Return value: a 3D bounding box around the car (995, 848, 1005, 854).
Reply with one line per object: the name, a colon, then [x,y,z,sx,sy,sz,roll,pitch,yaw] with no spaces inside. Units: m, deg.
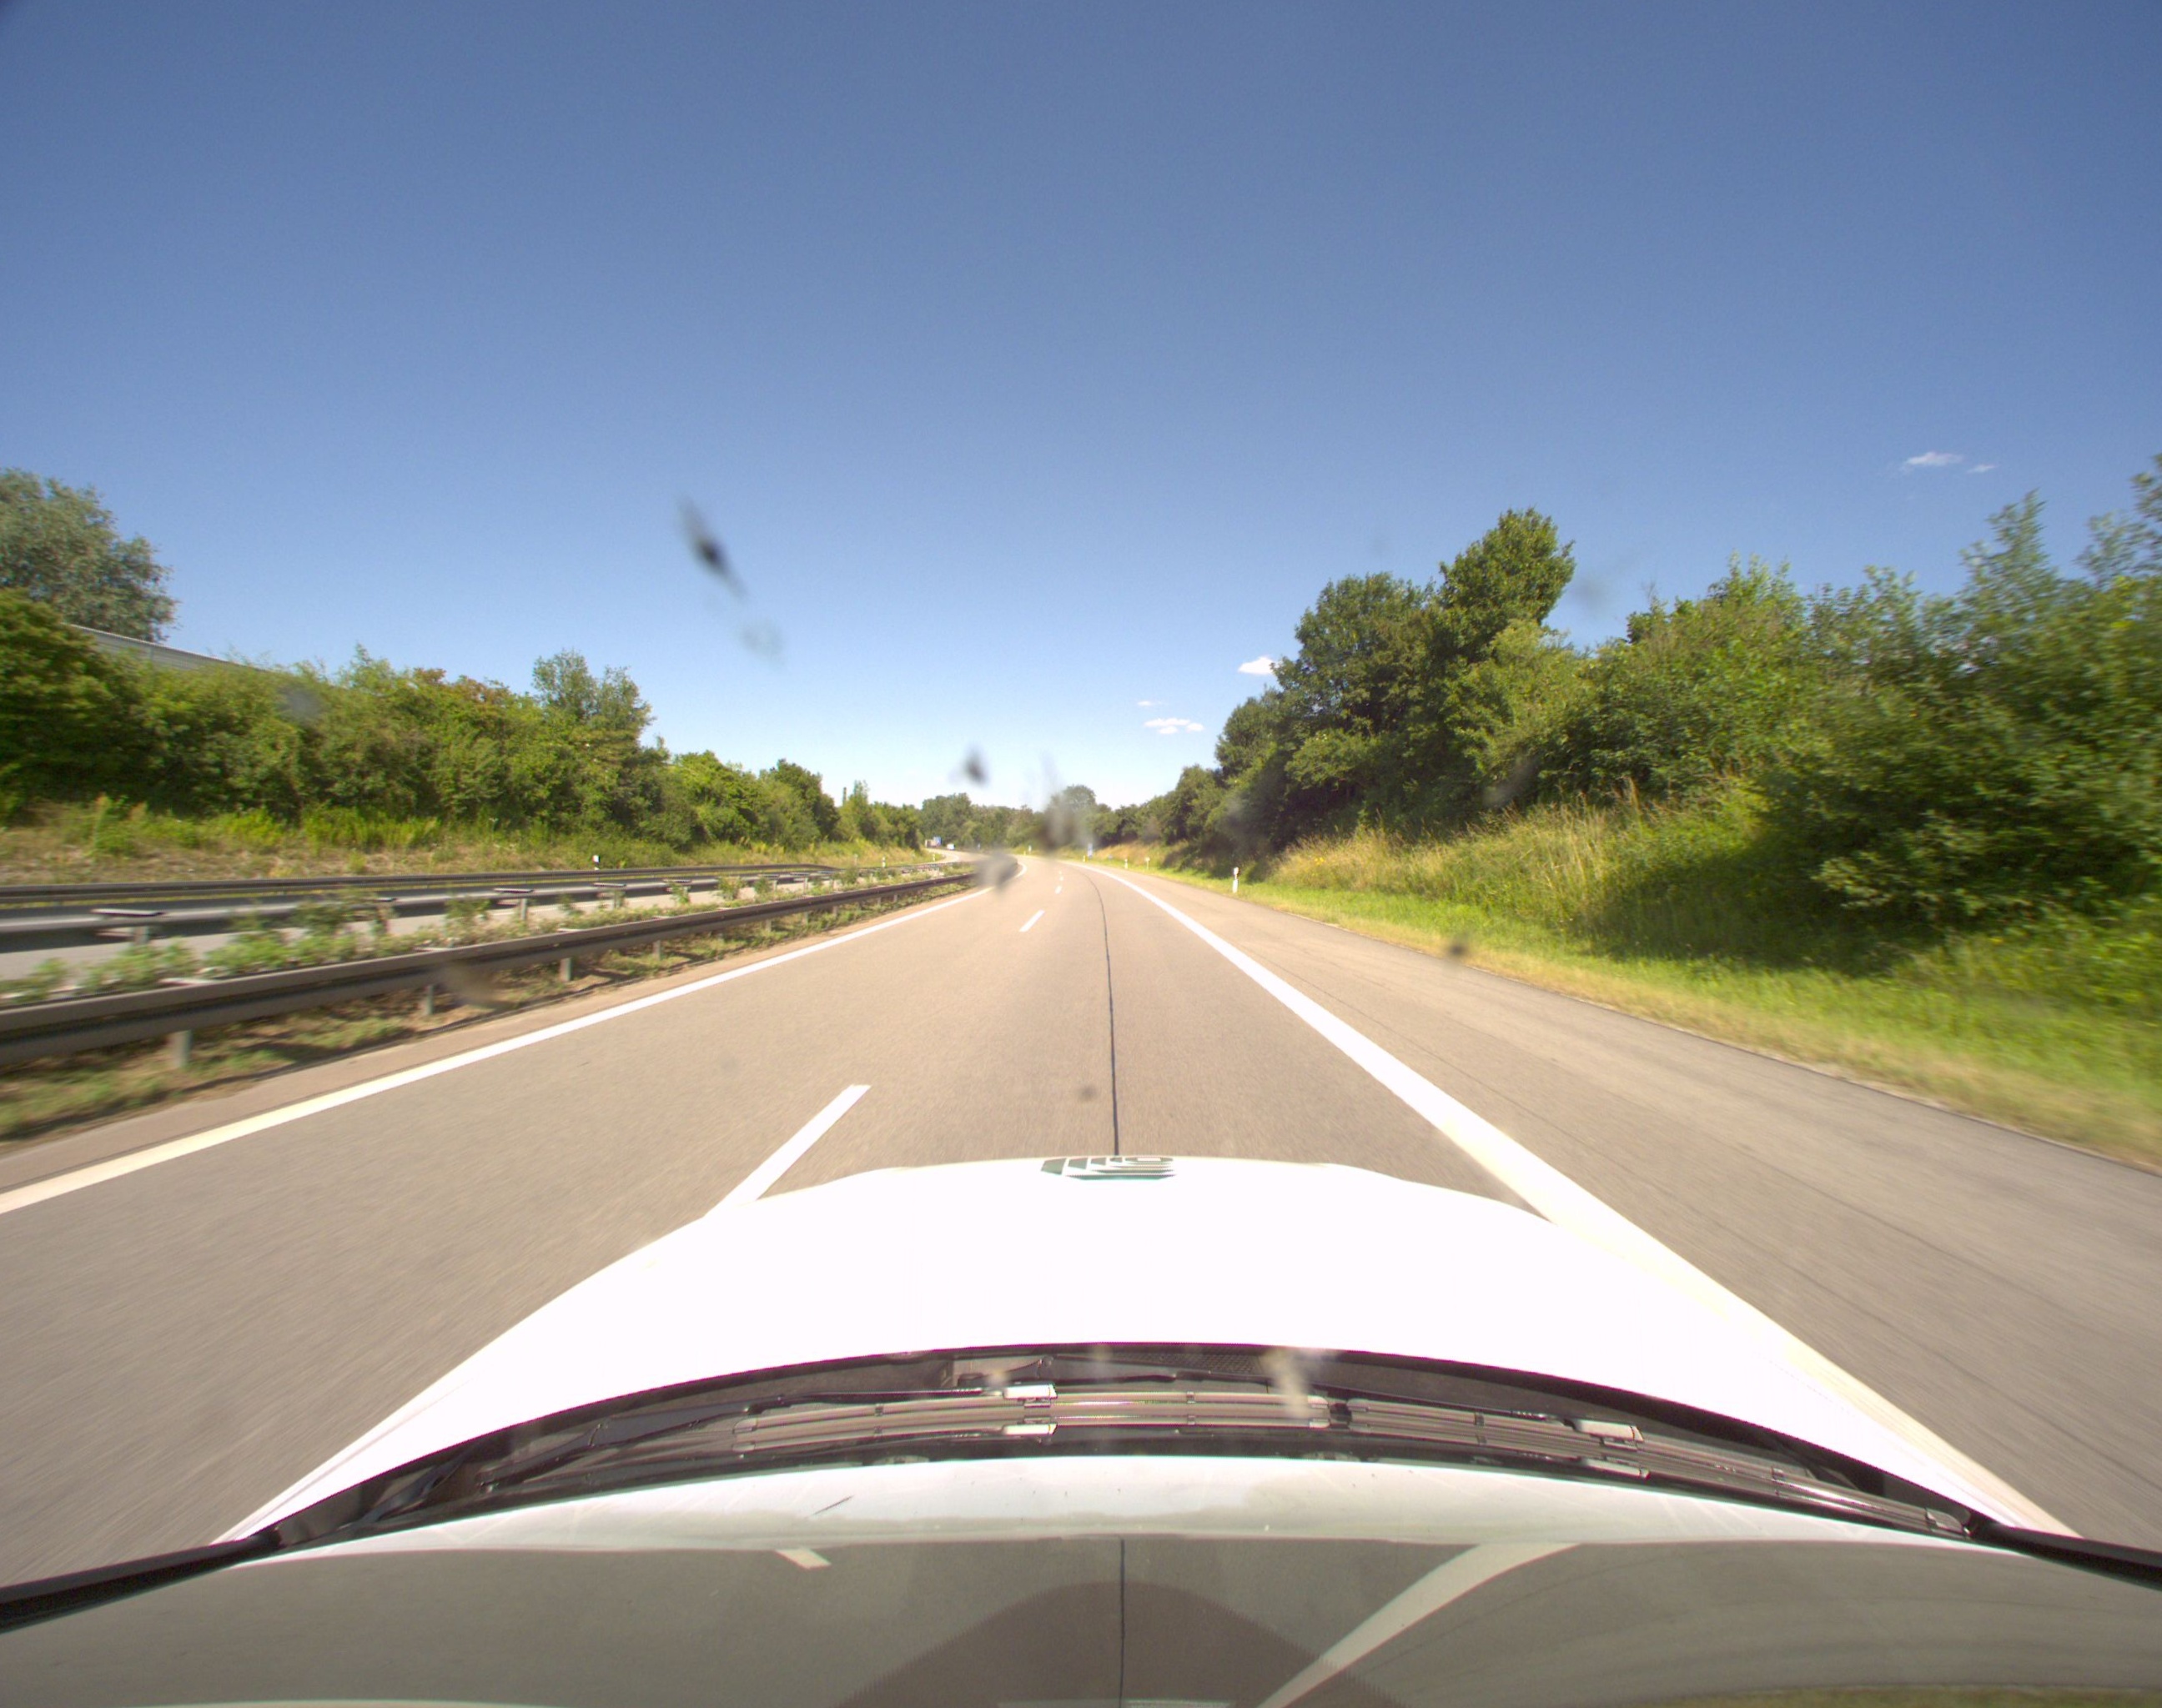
car: [-21.675,-0.808,216.938,2.064,1.625,3.981,0,-1,-14]
